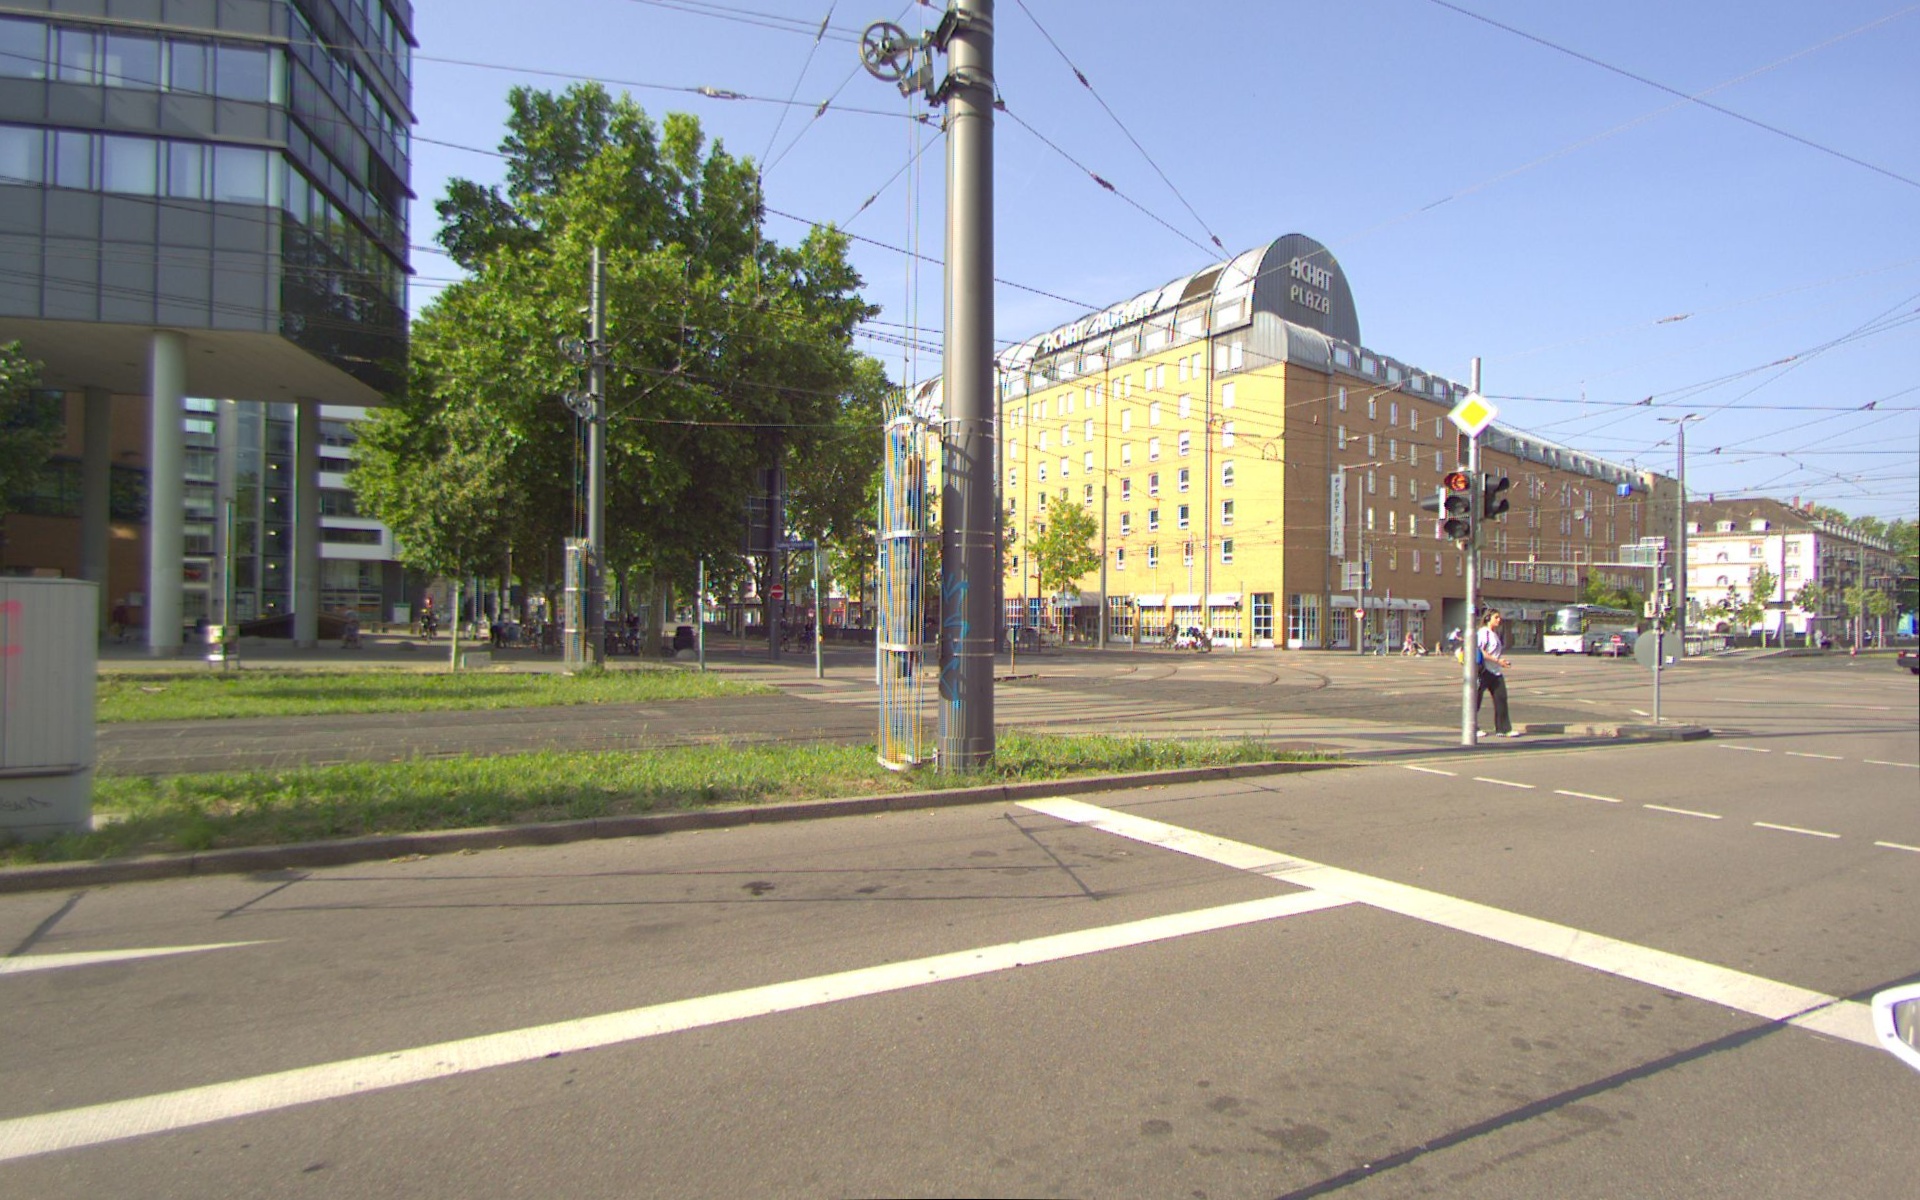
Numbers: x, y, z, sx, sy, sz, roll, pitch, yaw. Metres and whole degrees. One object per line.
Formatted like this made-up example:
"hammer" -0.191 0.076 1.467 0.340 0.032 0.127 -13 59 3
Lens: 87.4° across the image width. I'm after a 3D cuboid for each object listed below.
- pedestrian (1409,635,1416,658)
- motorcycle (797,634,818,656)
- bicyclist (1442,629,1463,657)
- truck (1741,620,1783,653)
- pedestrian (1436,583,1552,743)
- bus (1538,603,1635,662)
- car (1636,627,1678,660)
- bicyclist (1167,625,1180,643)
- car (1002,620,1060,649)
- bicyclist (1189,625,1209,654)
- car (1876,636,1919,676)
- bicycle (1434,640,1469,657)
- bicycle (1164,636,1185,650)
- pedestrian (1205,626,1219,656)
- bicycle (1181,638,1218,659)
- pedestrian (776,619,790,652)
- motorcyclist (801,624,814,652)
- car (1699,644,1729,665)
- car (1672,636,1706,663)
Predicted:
"pedestrian" 30.419 3.113 67.498 0.362 1.503 0.431 1 -2 21
"motorcycle" -7.602 2.243 50.135 0.281 1.008 1.678 3 -2 -35
"bicyclist" 31.092 2.693 63.387 0.666 1.718 0.977 3 -2 -43
"truck" 67.589 3.070 84.621 4.703 2.632 1.976 4 -2 -41
"pedestrian" 7.147 0.820 13.459 0.770 2.040 1.145 3 -2 -41
"bus" 46.392 2.467 74.165 12.125 3.972 2.722 4 -3 -42
"car" 45.419 2.836 65.432 2.708 2.040 1.588 4 -2 -40
"bicyclist" 13.387 2.131 63.078 0.603 1.144 0.519 3 -2 -30
"car" 5.353 2.587 76.207 1.981 2.040 4.569 1 -1 -36
"bicyclist" 14.543 2.402 61.212 0.952 1.769 0.664 2 -2 -16
"car" 38.898 2.255 39.290 4.135 1.506 2.002 2 -2 9
"bicycle" 31.034 3.060 63.435 0.417 0.982 1.941 3 -2 -43
"bicycle" 13.468 2.709 63.117 1.381 0.883 0.344 3 -2 -31
"pedestrian" 16.771 2.698 66.807 0.735 1.979 0.883 0 -1 23
"bicycle" 14.587 2.959 61.189 2.250 1.222 0.548 3 -2 -17
"pedestrian" -9.311 1.863 52.790 0.504 1.748 0.527 3 -2 -36
"motorcyclist" -7.609 1.902 50.174 0.414 1.339 0.527 3 -2 -35
"car" 55.651 4.041 74.104 2.724 1.500 1.377 4 -3 -44
"car" 50.310 3.418 69.292 2.585 1.783 1.200 3 -2 -37
